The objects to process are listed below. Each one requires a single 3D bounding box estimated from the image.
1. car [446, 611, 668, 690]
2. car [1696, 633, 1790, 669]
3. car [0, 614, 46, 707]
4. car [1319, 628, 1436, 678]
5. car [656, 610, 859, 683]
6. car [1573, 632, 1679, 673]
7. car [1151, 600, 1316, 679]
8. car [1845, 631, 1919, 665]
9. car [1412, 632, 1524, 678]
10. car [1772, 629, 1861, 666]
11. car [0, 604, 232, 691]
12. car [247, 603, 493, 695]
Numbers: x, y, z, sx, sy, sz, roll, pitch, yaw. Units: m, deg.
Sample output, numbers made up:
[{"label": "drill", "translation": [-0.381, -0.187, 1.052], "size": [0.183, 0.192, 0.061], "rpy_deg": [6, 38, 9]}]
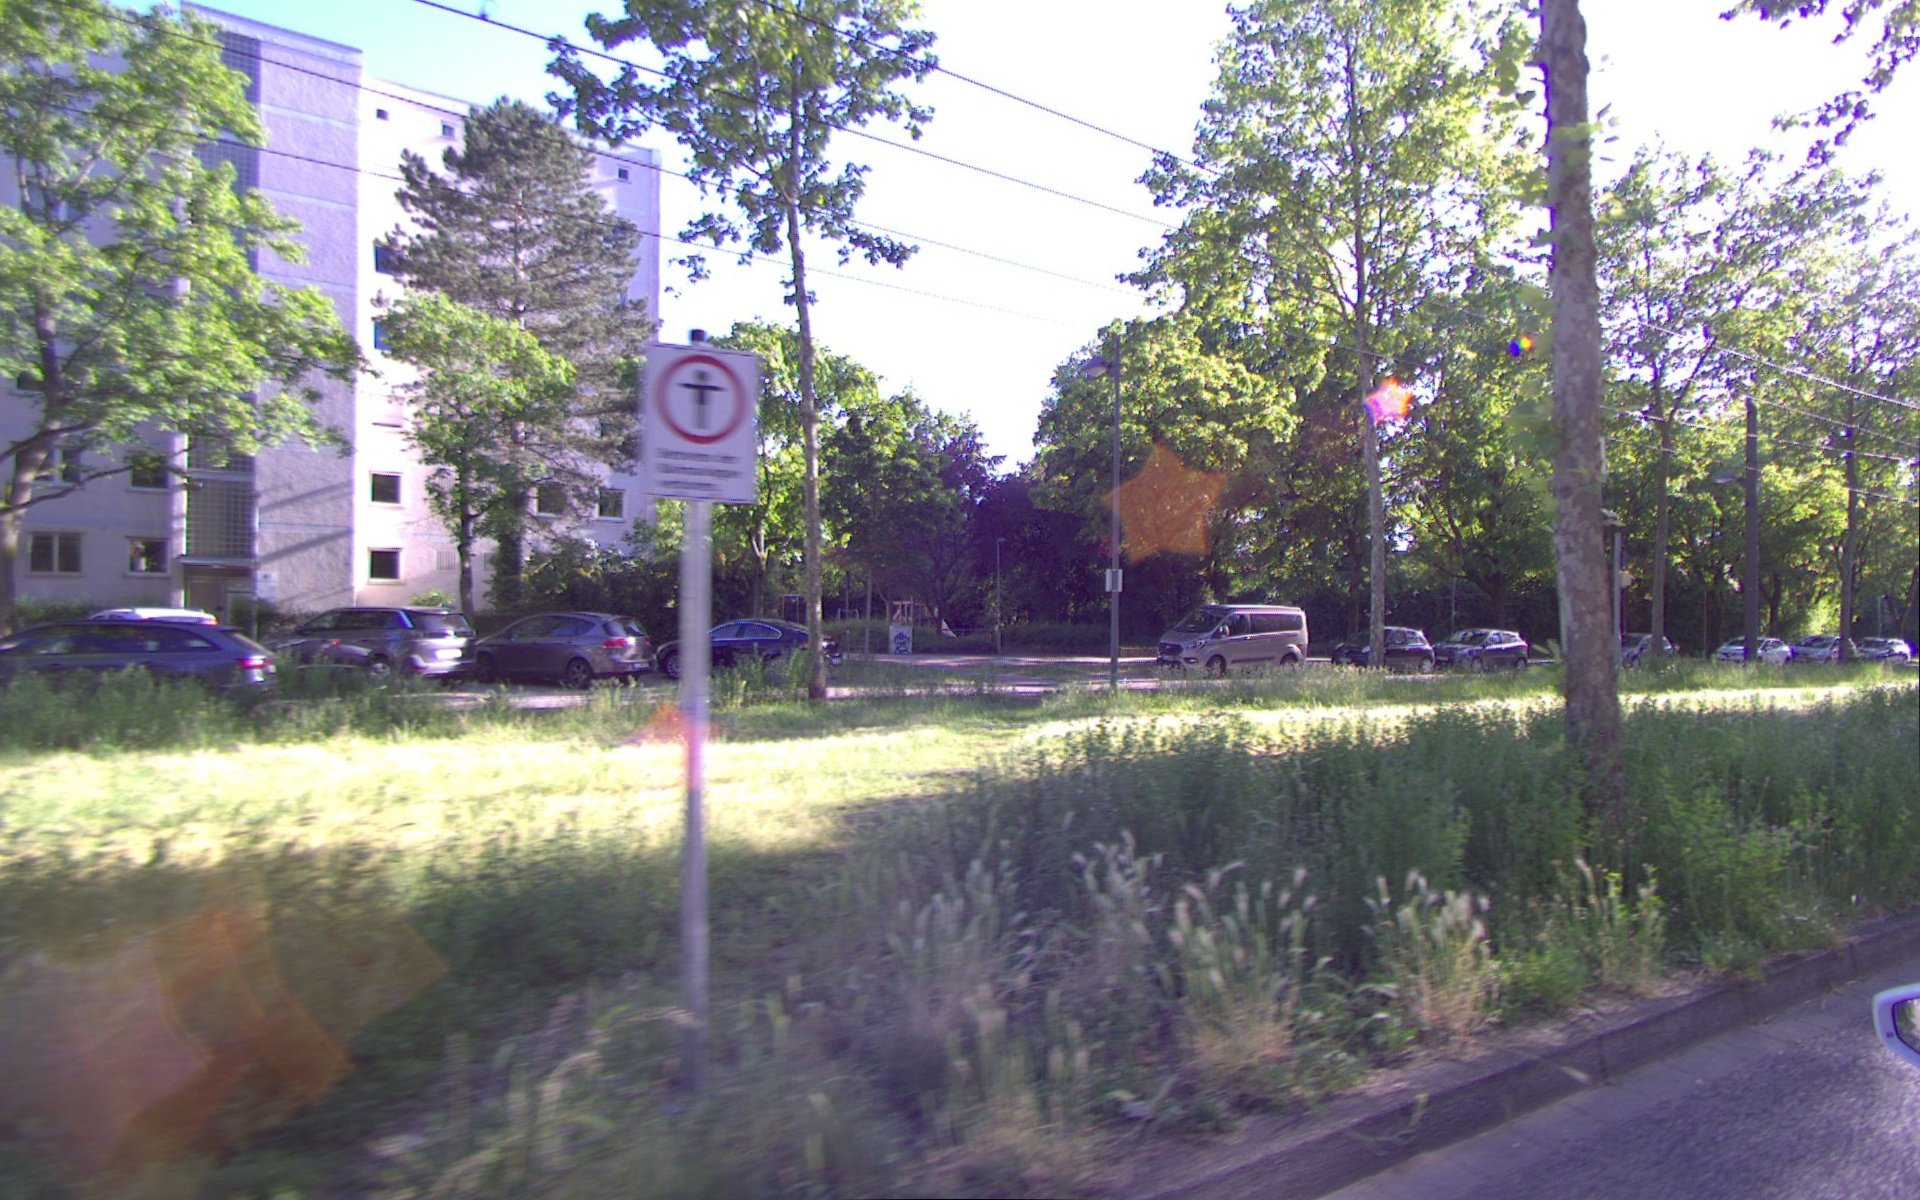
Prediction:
[{"label": "car", "translation": [-8.858, 1.060, 22.154], "size": [4.397, 1.589, 1.796], "rpy_deg": [0, -1, 18]}, {"label": "car", "translation": [36.267, 2.346, 46.509], "size": [3.950, 1.472, 1.985], "rpy_deg": [2, 2, -28]}, {"label": "car", "translation": [-17.447, 0.966, 16.510], "size": [3.842, 1.507, 1.796], "rpy_deg": [0, -1, 16]}, {"label": "car", "translation": [13.939, 1.749, 33.530], "size": [3.618, 1.472, 1.638], "rpy_deg": [2, 2, -28]}, {"label": "car", "translation": [-4.809, 1.070, 23.944], "size": [4.397, 1.589, 1.796], "rpy_deg": [0, -1, 18]}, {"label": "car", "translation": [27.331, 2.147, 41.225], "size": [3.950, 1.472, 1.985], "rpy_deg": [2, 2, -28]}, {"label": "car", "translation": [8.115, 1.147, 29.714], "size": [4.853, 2.121, 1.638], "rpy_deg": [2, 2, -28]}, {"label": "car", "translation": [48.009, 2.479, 52.122], "size": [4.116, 1.611, 1.779], "rpy_deg": [2, 2, -28]}, {"label": "car", "translation": [18.183, 1.947, 35.976], "size": [3.530, 1.472, 1.864], "rpy_deg": [2, 2, -28]}, {"label": "car", "translation": [42.450, 2.345, 49.784], "size": [4.116, 1.611, 1.985], "rpy_deg": [2, 2, -28]}, {"label": "car", "translation": [-16.006, 0.849, 19.032], "size": [4.401, 1.501, 1.617], "rpy_deg": [0, -1, 24]}, {"label": "car", "translation": [-11.872, 0.938, 20.249], "size": [4.397, 1.697, 1.796], "rpy_deg": [0, -1, 18]}]
